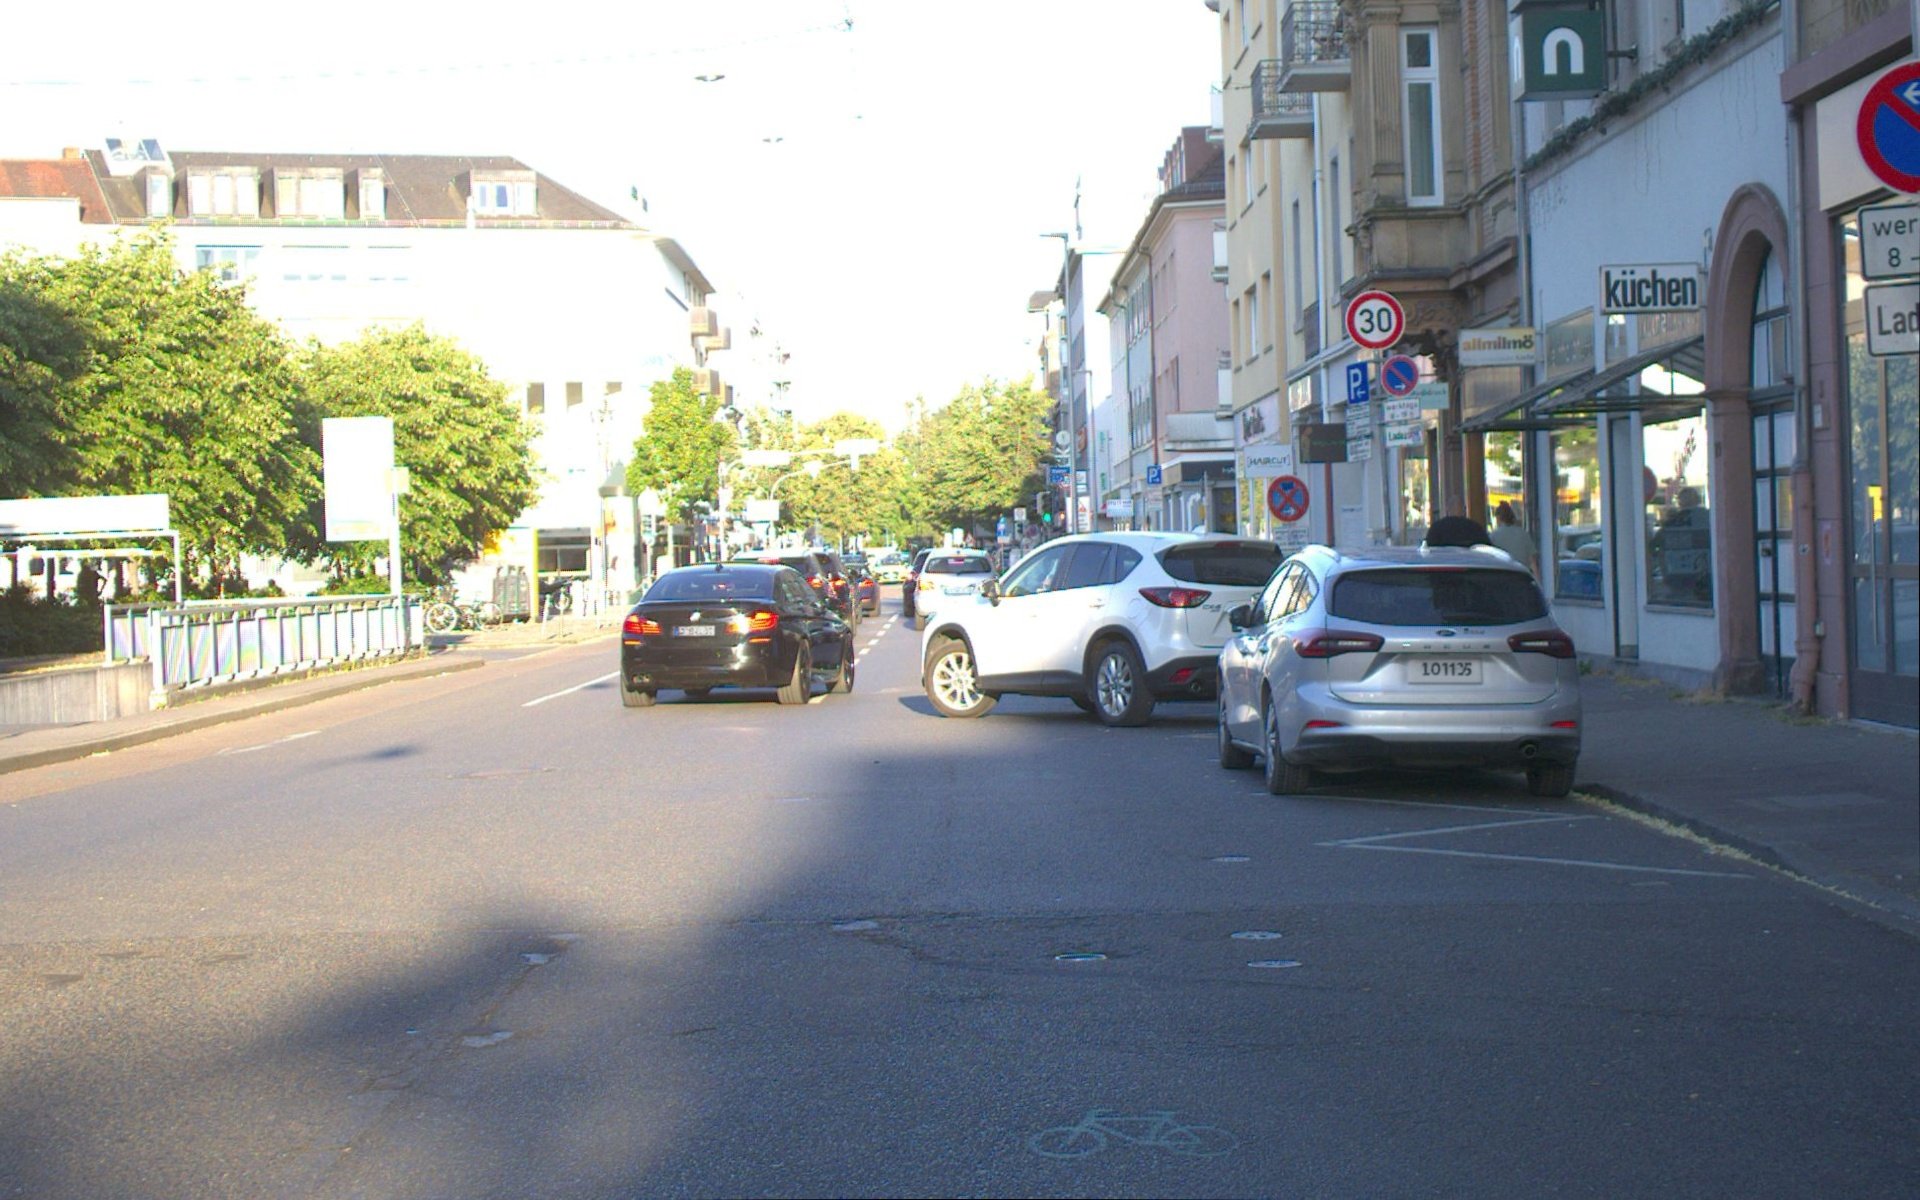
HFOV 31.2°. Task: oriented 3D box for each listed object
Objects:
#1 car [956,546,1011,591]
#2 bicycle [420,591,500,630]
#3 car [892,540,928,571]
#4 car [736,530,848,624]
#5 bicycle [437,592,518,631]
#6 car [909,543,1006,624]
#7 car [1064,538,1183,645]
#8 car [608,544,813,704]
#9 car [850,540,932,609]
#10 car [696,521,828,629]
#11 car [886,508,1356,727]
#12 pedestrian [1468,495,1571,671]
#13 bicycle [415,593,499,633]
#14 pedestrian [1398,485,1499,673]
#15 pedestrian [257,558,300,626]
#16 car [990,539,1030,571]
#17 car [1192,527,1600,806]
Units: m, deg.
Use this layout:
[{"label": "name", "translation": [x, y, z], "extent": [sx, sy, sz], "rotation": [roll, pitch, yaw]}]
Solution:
[{"label": "car", "translation": [0.809, -1.151, 123.072], "extent": [1.896, 1.575, 3.852], "rotation": [0, 1, -1]}, {"label": "bicycle", "translation": [-11.772, 0.244, 80.983], "extent": [1.825, 0.850, 0.484], "rotation": [1, 1, -3]}, {"label": "car", "translation": [-2.601, -2.305, 178.031], "extent": [1.779, 1.542, 4.000], "rotation": [-1, 1, -1]}, {"label": "car", "translation": [-3.061, -0.436, 63.401], "extent": [1.896, 1.644, 4.104], "rotation": [-1, 1, -1]}, {"label": "bicycle", "translation": [-11.227, 0.269, 80.068], "extent": [1.825, 0.850, 0.484], "rotation": [1, 1, -3]}, {"label": "car", "translation": [-0.068, -0.354, 69.757], "extent": [1.896, 1.575, 4.000], "rotation": [0, 1, -1]}, {"label": "car", "translation": [2.604, -0.154, 55.476], "extent": [1.730, 1.645, 4.284], "rotation": [0, 0, 0]}, {"label": "car", "translation": [-2.549, 0.211, 35.969], "extent": [1.896, 1.575, 4.000], "rotation": [0, 1, -1]}, {"label": "car", "translation": [-1.650, -0.630, 83.116], "extent": [1.896, 1.575, 3.852], "rotation": [1, 1, -1]}, {"label": "car", "translation": [-3.135, -0.417, 55.084], "extent": [1.896, 1.644, 4.104], "rotation": [-1, 1, -1]}, {"label": "car", "translation": [1.337, 0.131, 30.541], "extent": [1.993, 1.755, 4.466], "rotation": [-2, 1, -31]}, {"label": "pedestrian", "translation": [5.625, -0.178, 34.623], "extent": [0.772, 1.705, 1.042], "rotation": [-3, 1, -1]}, {"label": "bicycle", "translation": [-11.444, 0.294, 78.266], "extent": [1.825, 0.850, 0.484], "rotation": [1, 1, -3]}, {"label": "pedestrian", "translation": [4.898, -0.222, 34.530], "extent": [0.772, 1.821, 1.011], "rotation": [-3, 1, -1]}, {"label": "pedestrian", "translation": [-16.209, -0.186, 81.742], "extent": [0.791, 1.589, 0.567], "rotation": [0, 1, 19]}, {"label": "car", "translation": [2.510, -2.307, 174.716], "extent": [1.896, 1.575, 3.852], "rotation": [-2, 1, -1]}, {"label": "car", "translation": [2.584, 0.353, 21.484], "extent": [1.759, 1.531, 4.822], "rotation": [0, 0, -2]}]
